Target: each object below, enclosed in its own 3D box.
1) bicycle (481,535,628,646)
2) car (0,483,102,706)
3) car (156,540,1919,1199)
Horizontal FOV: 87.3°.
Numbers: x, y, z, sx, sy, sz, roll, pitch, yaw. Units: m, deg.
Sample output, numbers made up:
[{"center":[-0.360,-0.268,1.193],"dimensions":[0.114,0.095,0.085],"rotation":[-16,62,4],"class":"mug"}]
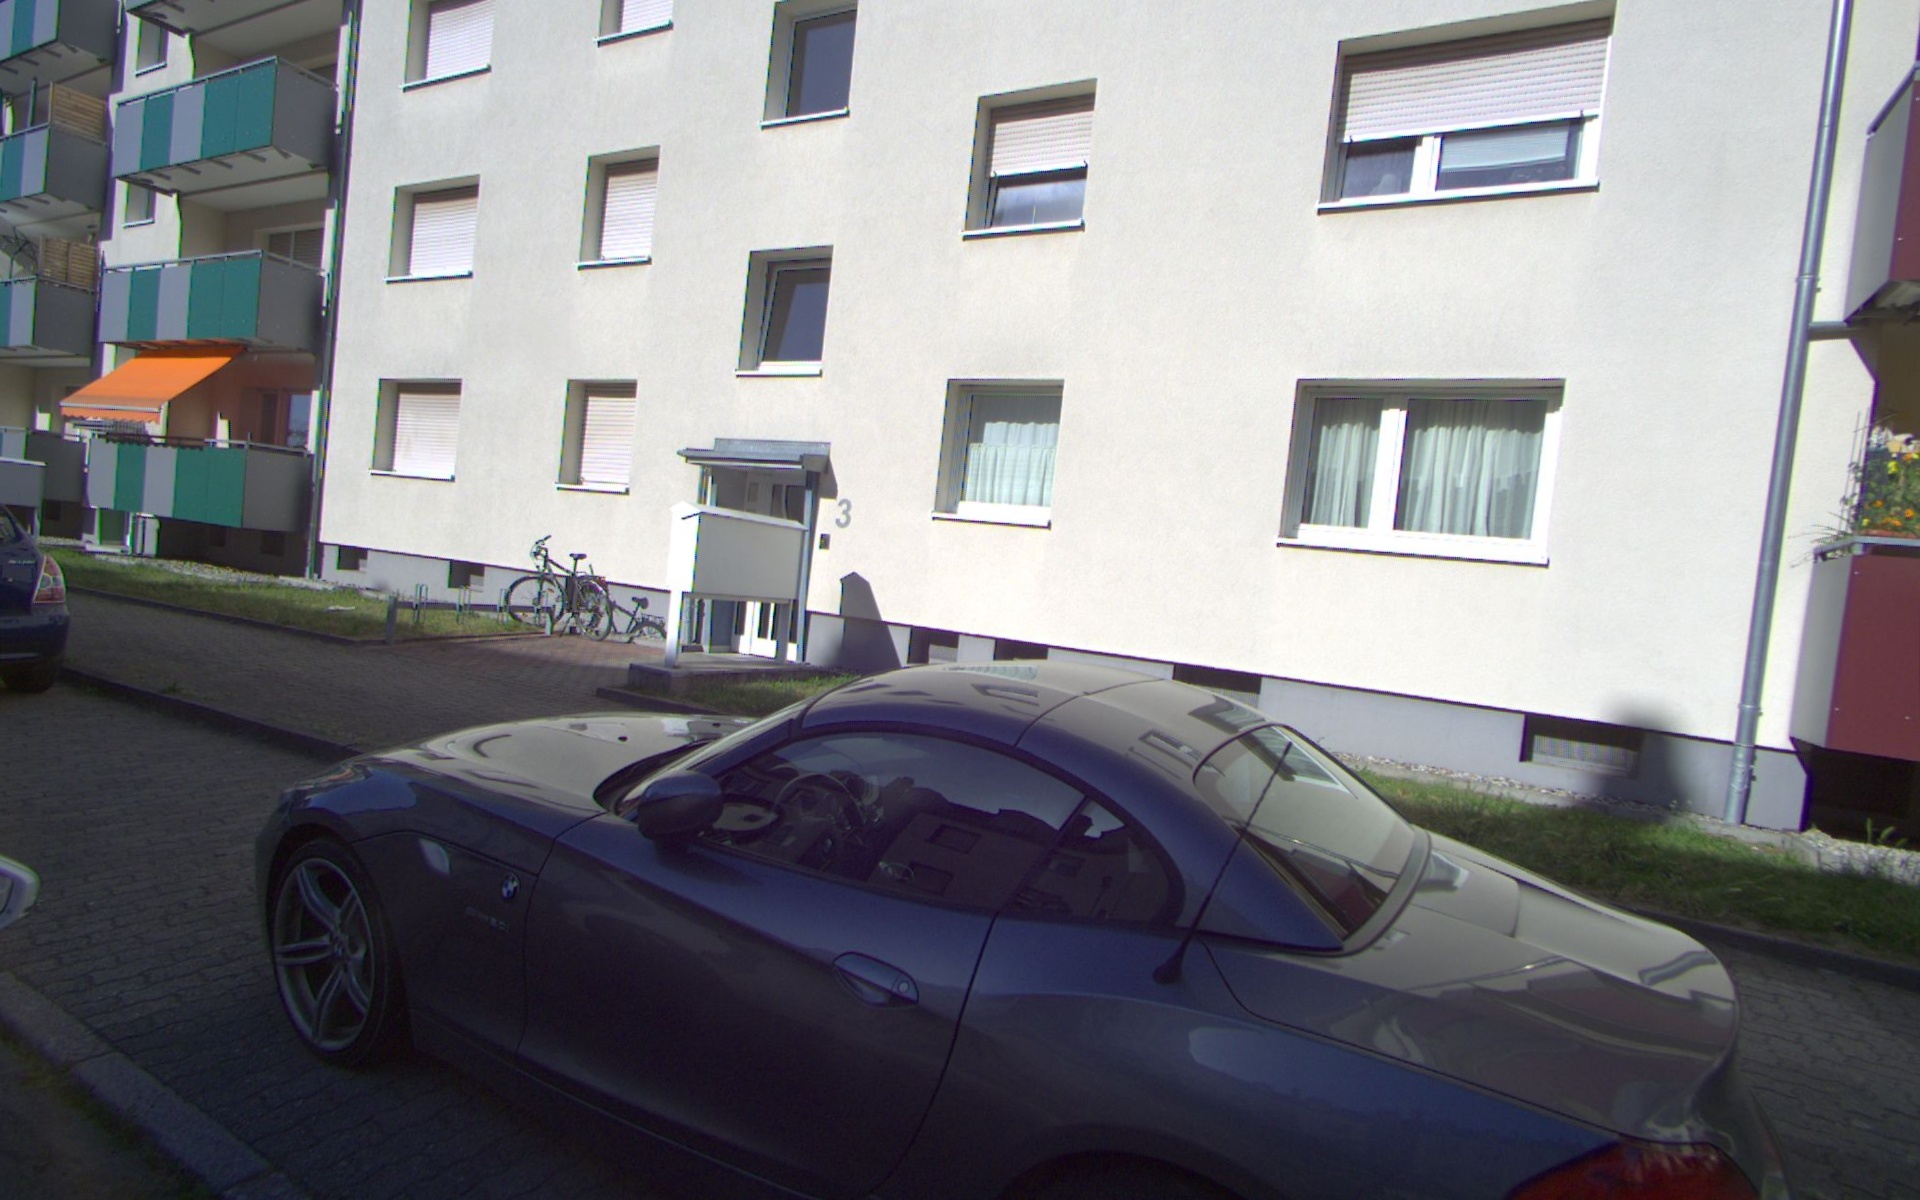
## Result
[{"center":[-4.775,-0.145,11.809],"dimensions":[1.703,1.084,0.649],"rotation":[8,8,28],"class":"bicycle"},{"center":[-8.297,-0.225,7.214],"dimensions":[4.279,1.452,1.738],"rotation":[6,4,27],"class":"car"},{"center":[-0.357,0.705,2.900],"dimensions":[4.168,1.383,1.685],"rotation":[7,4,30],"class":"car"}]
